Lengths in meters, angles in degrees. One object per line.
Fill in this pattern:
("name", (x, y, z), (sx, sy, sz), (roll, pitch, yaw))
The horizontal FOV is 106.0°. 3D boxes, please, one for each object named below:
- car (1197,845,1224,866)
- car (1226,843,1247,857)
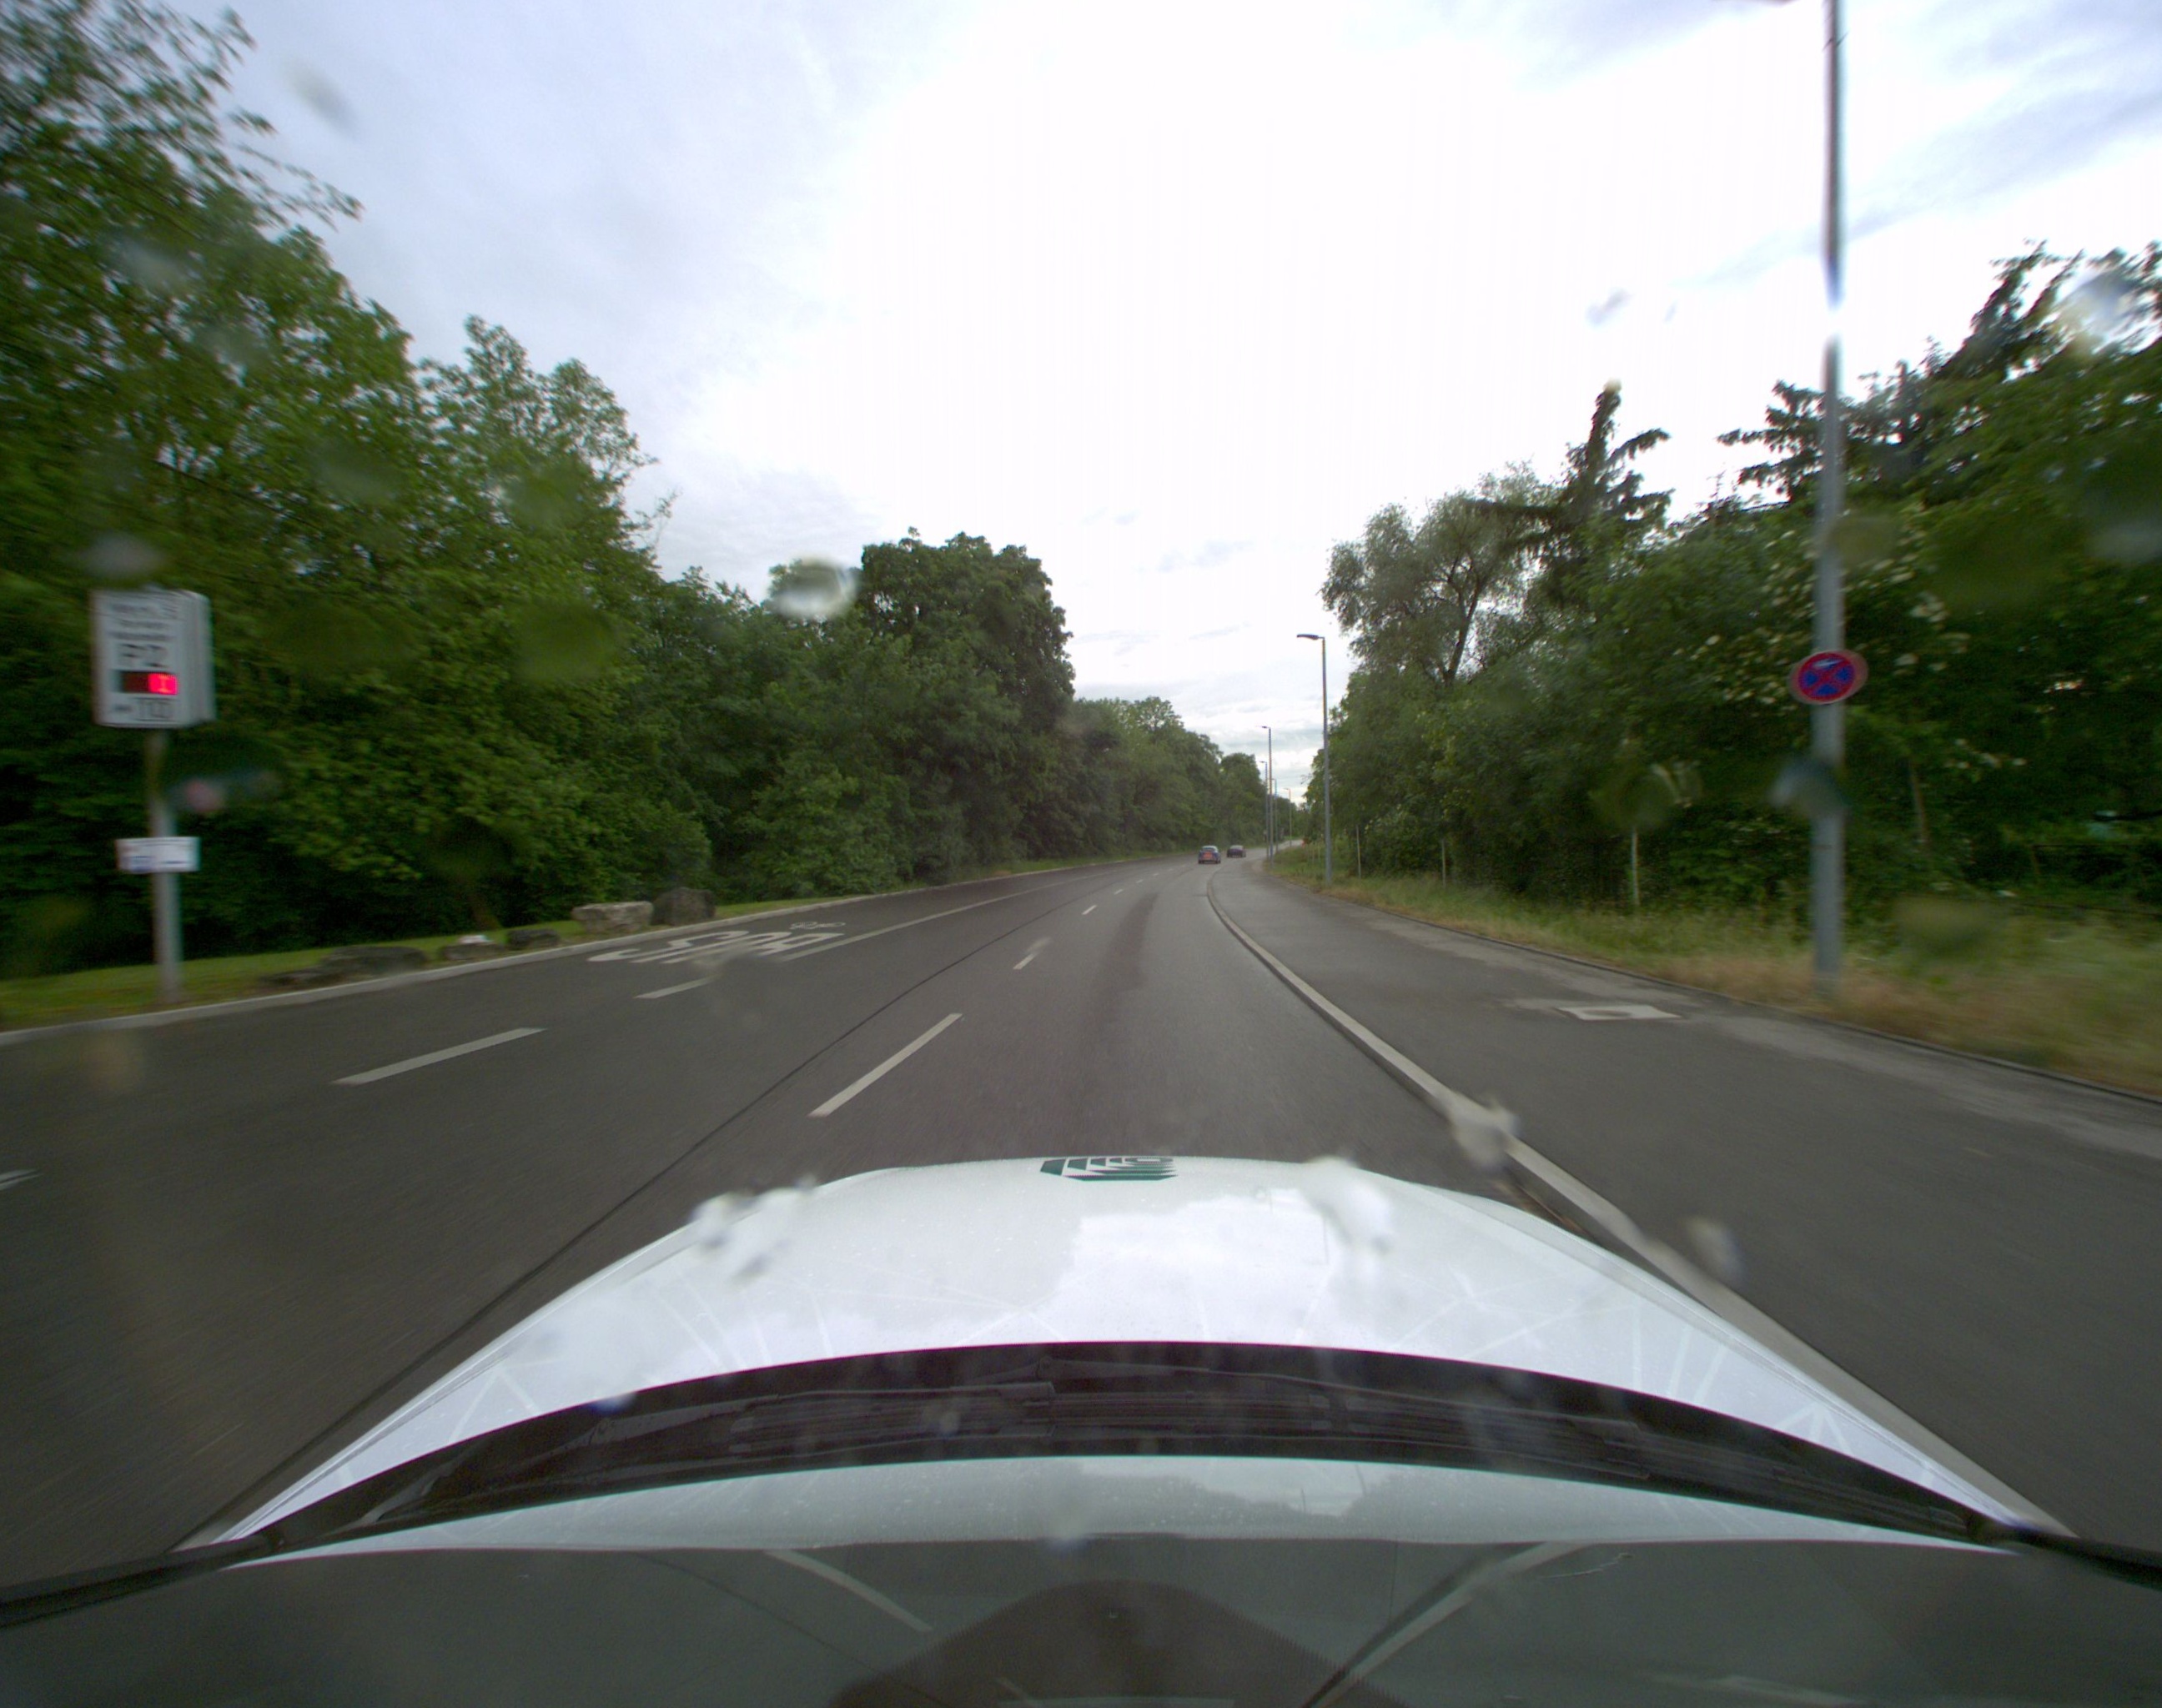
("car", (11.615, 0.094, 73.023), (1.979, 1.689, 4.017), (-2, 2, 14))
("car", (18.045, -0.468, 94.418), (1.911, 1.486, 3.818), (-2, 2, 18))
